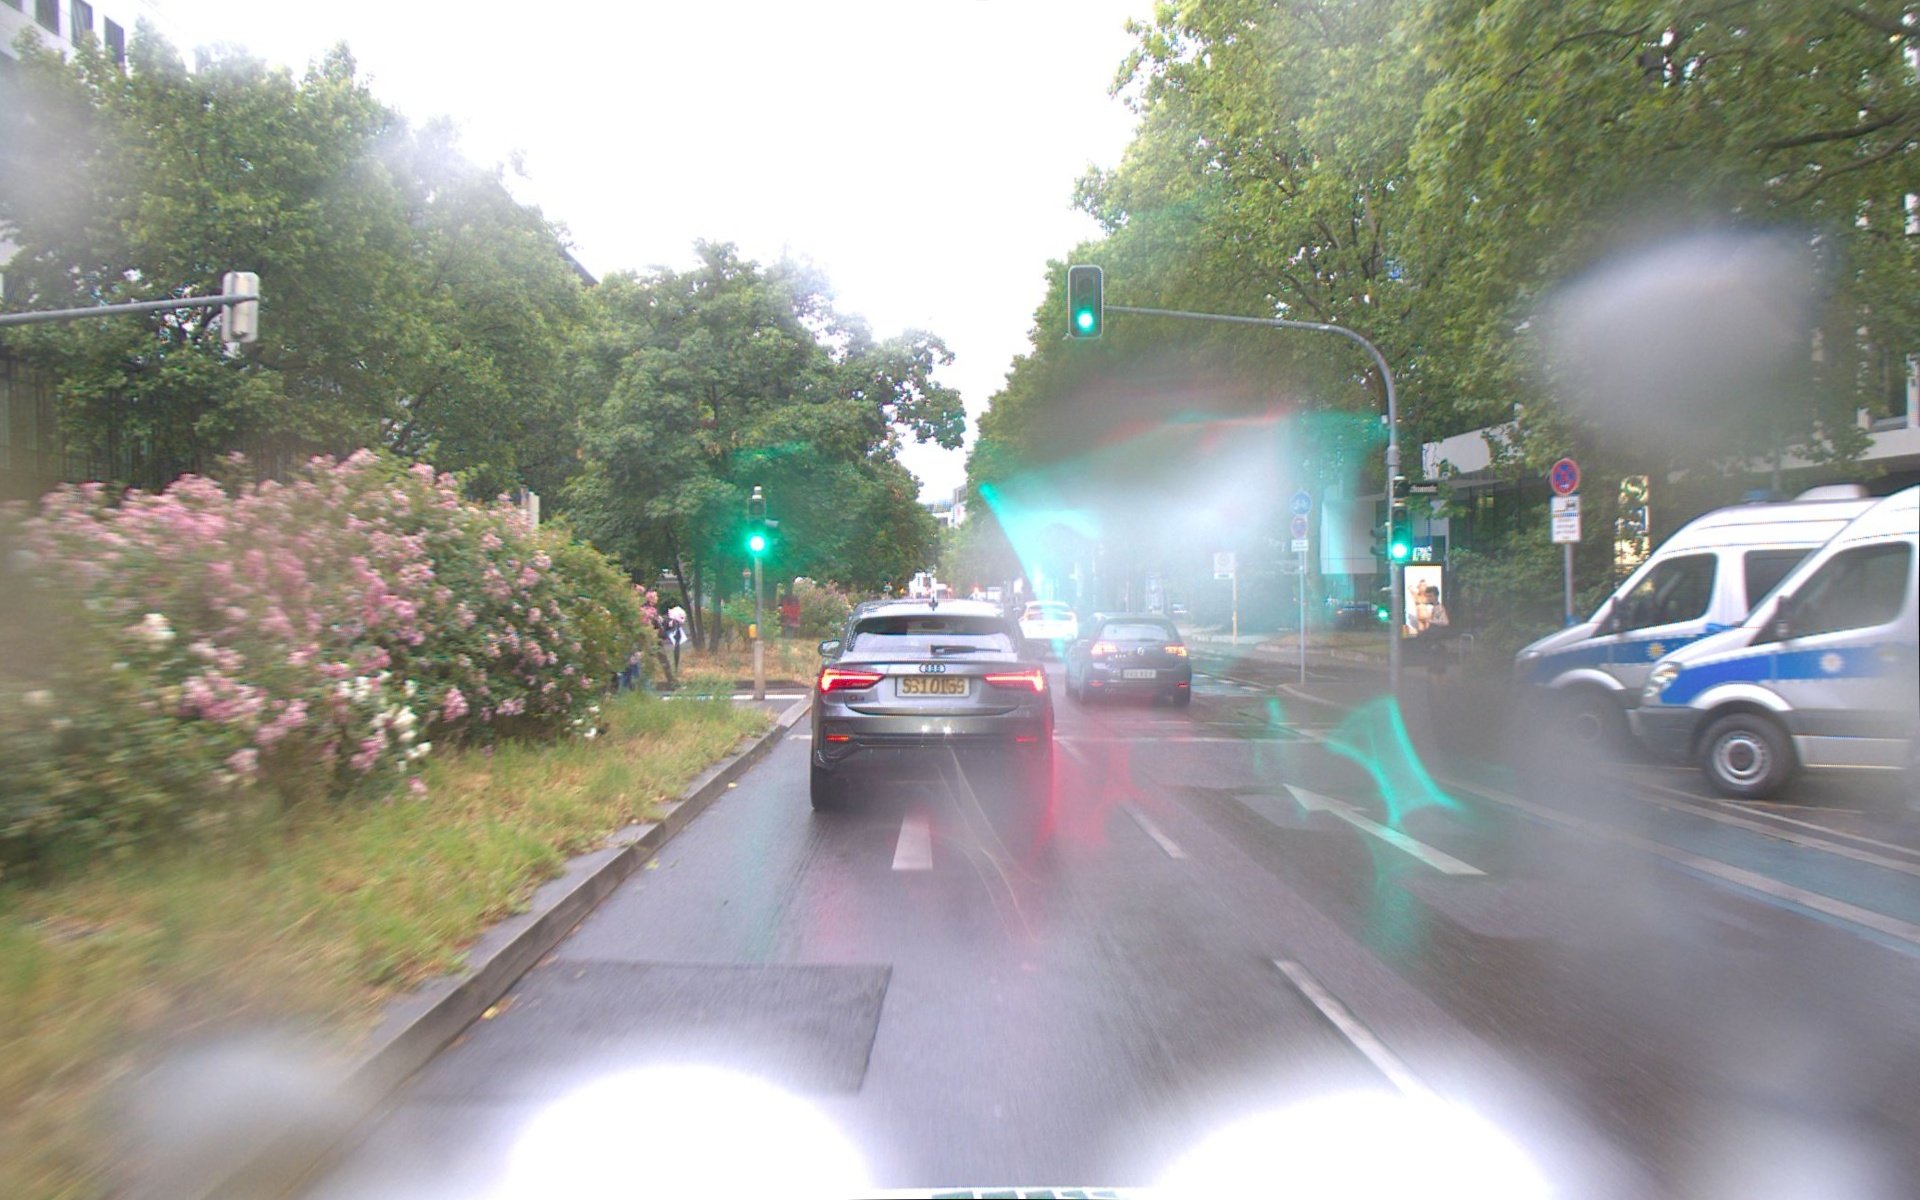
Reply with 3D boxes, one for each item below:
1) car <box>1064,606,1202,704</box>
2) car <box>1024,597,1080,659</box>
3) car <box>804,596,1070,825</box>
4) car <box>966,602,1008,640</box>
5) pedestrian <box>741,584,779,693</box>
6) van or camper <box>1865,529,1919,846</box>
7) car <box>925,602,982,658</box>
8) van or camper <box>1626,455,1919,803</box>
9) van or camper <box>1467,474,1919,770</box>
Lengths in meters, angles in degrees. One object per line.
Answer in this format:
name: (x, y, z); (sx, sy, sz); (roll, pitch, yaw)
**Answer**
car: (2.764, 0.838, 27.225); (1.729, 1.437, 3.999); (-1, 0, -2)
car: (2.657, 0.789, 48.213); (1.404, 1.714, 2.978); (-1, 0, -1)
car: (-0.148, 0.753, 13.599); (1.825, 1.559, 4.526); (0, 0, 0)
car: (1.316, 1.033, 82.864); (1.953, 1.780, 3.999); (-1, 0, -1)
pedestrian: (-3.218, 0.611, 26.562); (0.563, 1.728, 0.403); (0, 0, -13)
van or camper: (8.530, 0.556, 10.283); (4.914, 2.049, 1.993); (-1, -2, 35)
car: (-0.239, 0.884, 50.810); (1.687, 1.605, 3.960); (0, 0, -1)
van or camper: (8.630, 0.217, 13.432); (5.692, 2.727, 1.993); (-1, 0, 35)
van or camper: (8.339, 0.204, 16.859); (5.701, 2.724, 2.139); (0, 0, 37)
